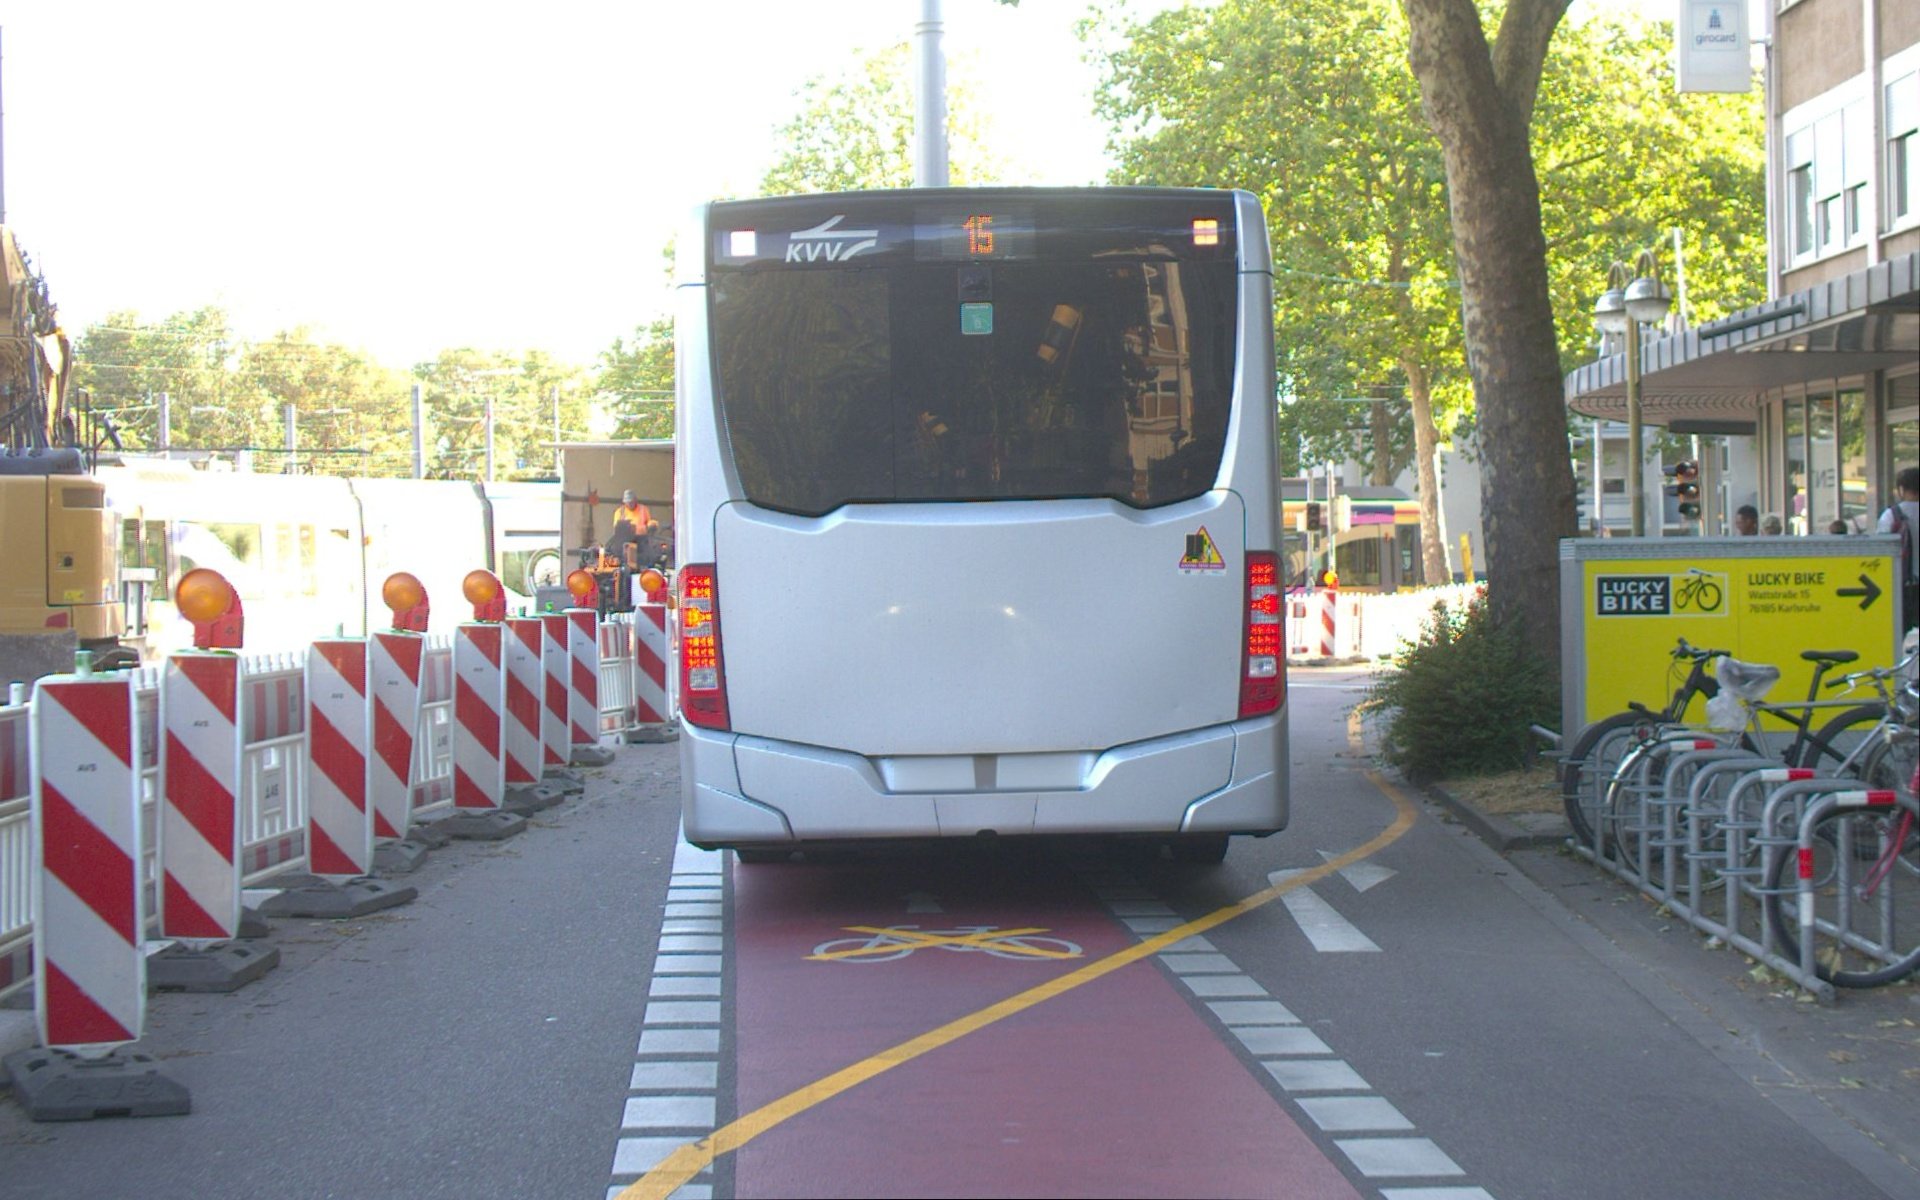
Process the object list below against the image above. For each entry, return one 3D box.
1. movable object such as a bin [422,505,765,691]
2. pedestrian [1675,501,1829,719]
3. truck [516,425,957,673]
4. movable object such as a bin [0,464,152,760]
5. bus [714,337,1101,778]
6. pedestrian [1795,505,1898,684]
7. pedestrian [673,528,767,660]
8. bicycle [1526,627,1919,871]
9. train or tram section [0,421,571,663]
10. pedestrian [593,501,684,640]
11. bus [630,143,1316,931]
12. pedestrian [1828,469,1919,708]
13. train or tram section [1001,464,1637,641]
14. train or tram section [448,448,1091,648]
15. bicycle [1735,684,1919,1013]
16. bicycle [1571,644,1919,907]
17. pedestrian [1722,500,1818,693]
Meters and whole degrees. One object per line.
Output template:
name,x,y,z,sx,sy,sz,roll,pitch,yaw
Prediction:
movable object such as a bin,-4.637,-0.073,44.368,1.996,2.249,5.201,1,1,25
pedestrian,6.498,0.073,28.248,0.899,1.704,1.071,-3,1,-2
truck,-3.266,-0.781,53.650,2.816,3.529,8.971,0,1,25
movable object such as a bin,-8.483,0.073,29.238,2.642,2.310,4.903,0,1,-8
bus,-0.569,-0.347,28.887,2.708,3.096,8.980,-1,1,-3
pedestrian,8.047,-0.056,31.240,0.633,1.568,0.774,-3,1,-2
pedestrian,-3.291,-0.089,47.270,0.973,1.792,1.069,0,1,15
bicycle,3.809,0.700,16.506,1.986,1.054,0.771,-2,0,-4
train or tram section,-11.459,-0.852,56.447,2.854,3.521,13.374,-1,0,29
pedestrian,-4.717,-0.434,50.493,0.937,2.006,1.000,0,2,23
bus,-0.187,-0.329,19.058,2.733,3.128,10.704,0,1,-3
pedestrian,7.696,-0.113,27.896,0.838,1.863,1.100,-5,1,-2
train or tram section,7.557,-0.992,71.391,13.286,3.507,2.650,-1,0,-20
train or tram section,-3.401,-0.954,65.681,12.744,3.537,2.737,-1,0,-35
bicycle,3.586,0.791,11.516,1.789,1.018,0.644,-2,1,-4
bicycle,3.614,0.754,15.099,1.713,1.054,0.644,-2,1,0
pedestrian,7.360,-0.035,31.249,0.583,1.702,0.679,-4,1,-2
